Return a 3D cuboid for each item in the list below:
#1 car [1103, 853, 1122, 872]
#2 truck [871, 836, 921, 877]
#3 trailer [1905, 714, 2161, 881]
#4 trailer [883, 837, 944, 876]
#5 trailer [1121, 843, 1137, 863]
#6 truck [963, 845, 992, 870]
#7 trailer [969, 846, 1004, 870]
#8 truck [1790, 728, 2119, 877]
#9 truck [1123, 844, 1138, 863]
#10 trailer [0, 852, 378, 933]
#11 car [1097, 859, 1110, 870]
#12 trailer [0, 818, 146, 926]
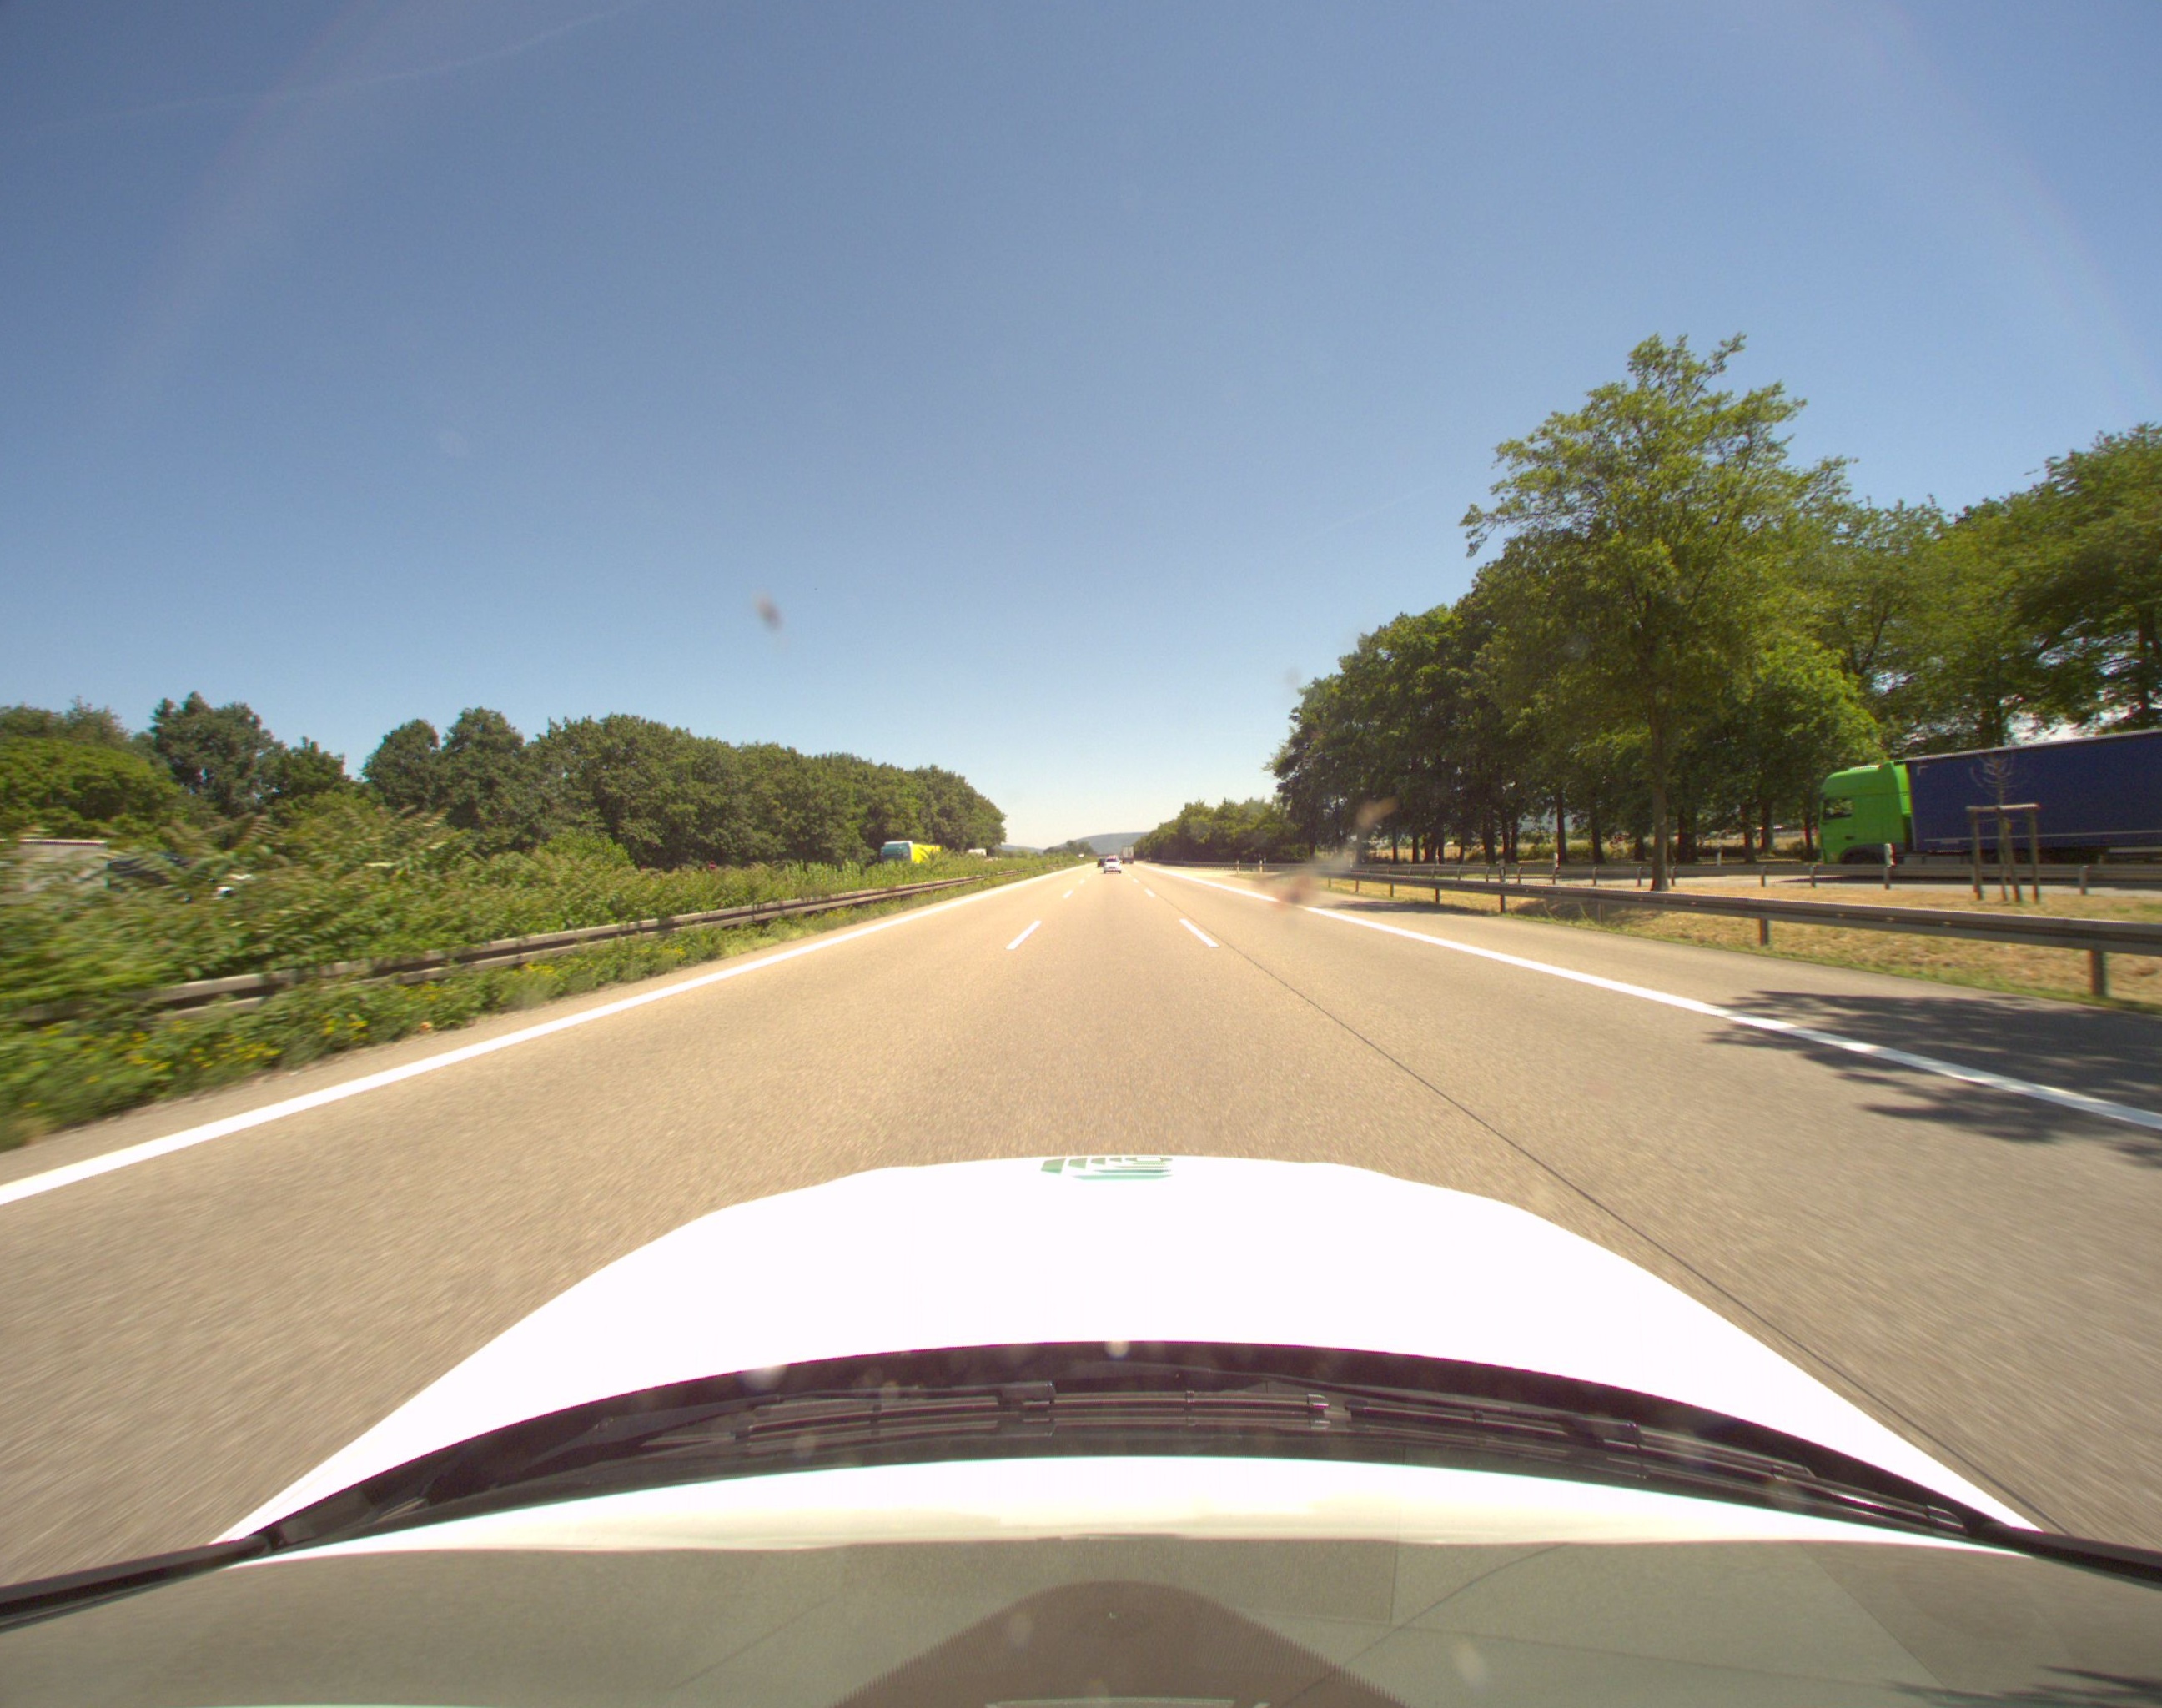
[{"bbox_3d":[3.034,0.810,78.894,1.725,1.684,4.001,-2,0,2],"label":"car"},{"bbox_3d":[-17.837,0.223,79.026,3.186,3.825,6.397,0,0,1],"label":"truck"},{"bbox_3d":[29.413,-1.452,20.114,3.384,4.258,13.096,0,0,-11],"label":"trailer"},{"bbox_3d":[-17.609,0.273,86.820,3.186,3.825,14.027,0,0,2],"label":"trailer"},{"bbox_3d":[11.120,-0.165,186.985,3.202,4.345,13.648,0,0,5],"label":"trailer"},{"bbox_3d":[-15.496,0.570,122.865,3.185,3.580,7.000,0,0,2],"label":"truck"},{"bbox_3d":[-15.126,0.627,131.799,3.185,3.580,15.977,0,0,2],"label":"trailer"},{"bbox_3d":[28.161,-1.451,26.790,3.384,4.258,6.591,0,-1,-11],"label":"truck"},{"bbox_3d":[11.820,-0.120,194.429,3.202,4.345,6.600,0,0,5],"label":"truck"},{"bbox_3d":[-47.909,1.800,45.017,3.575,3.656,14.075,-2,0,14],"label":"trailer"},{"bbox_3d":[3.410,1.604,124.612,1.986,1.712,4.001,0,0,2],"label":"car"},{"bbox_3d":[-43.345,0.698,28.768,3.198,4.135,14.079,0,0,7],"label":"trailer"}]
